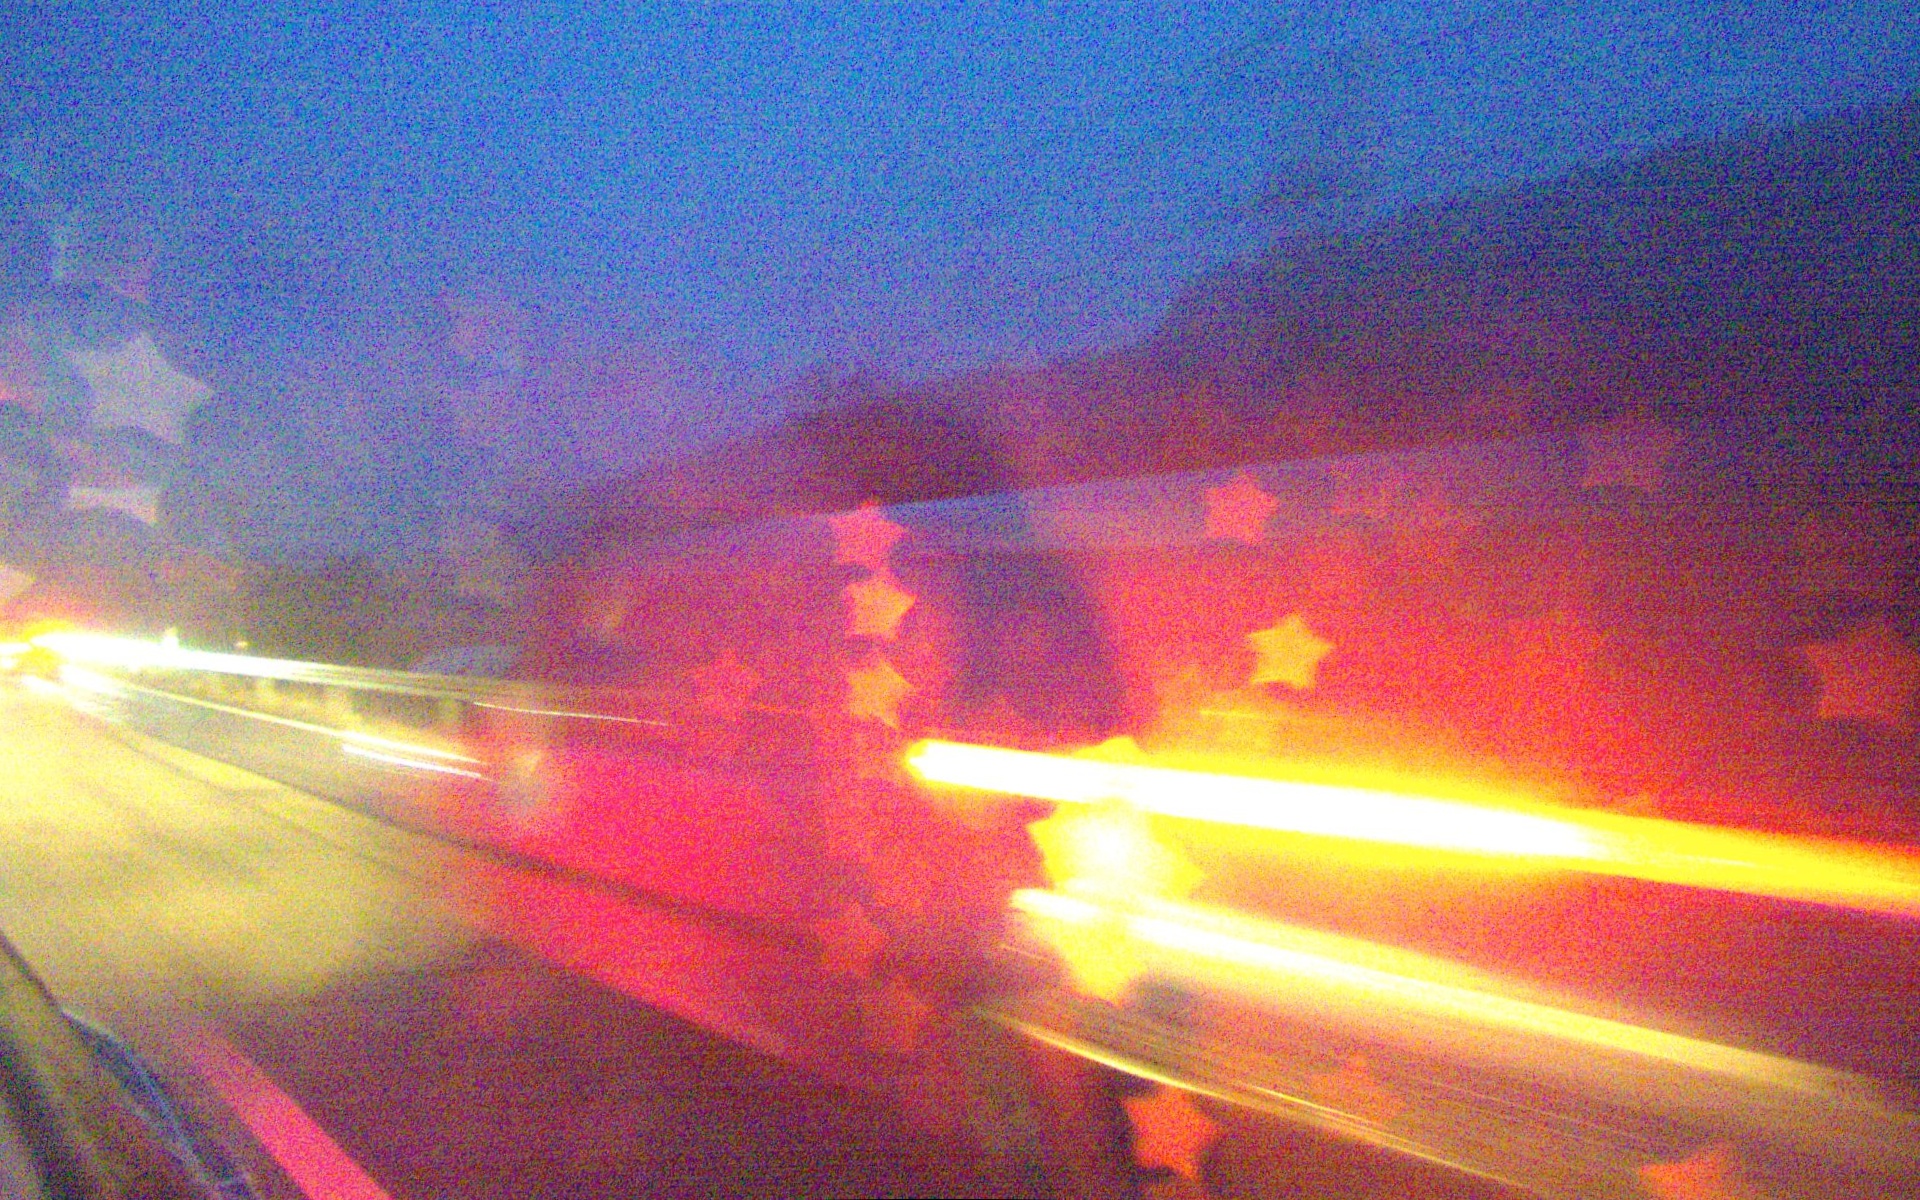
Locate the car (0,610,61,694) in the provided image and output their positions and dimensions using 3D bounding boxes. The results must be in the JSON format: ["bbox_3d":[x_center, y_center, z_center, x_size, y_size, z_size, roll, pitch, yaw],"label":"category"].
[{"bbox_3d":[-21.134,1.104,22.178,4.054,1.687,1.752,-1,1,43],"label":"car"}]

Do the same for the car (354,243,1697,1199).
[{"bbox_3d":[-0.154,0.482,3.315,3.998,1.836,1.973,-1,1,41],"label":"car"}]
